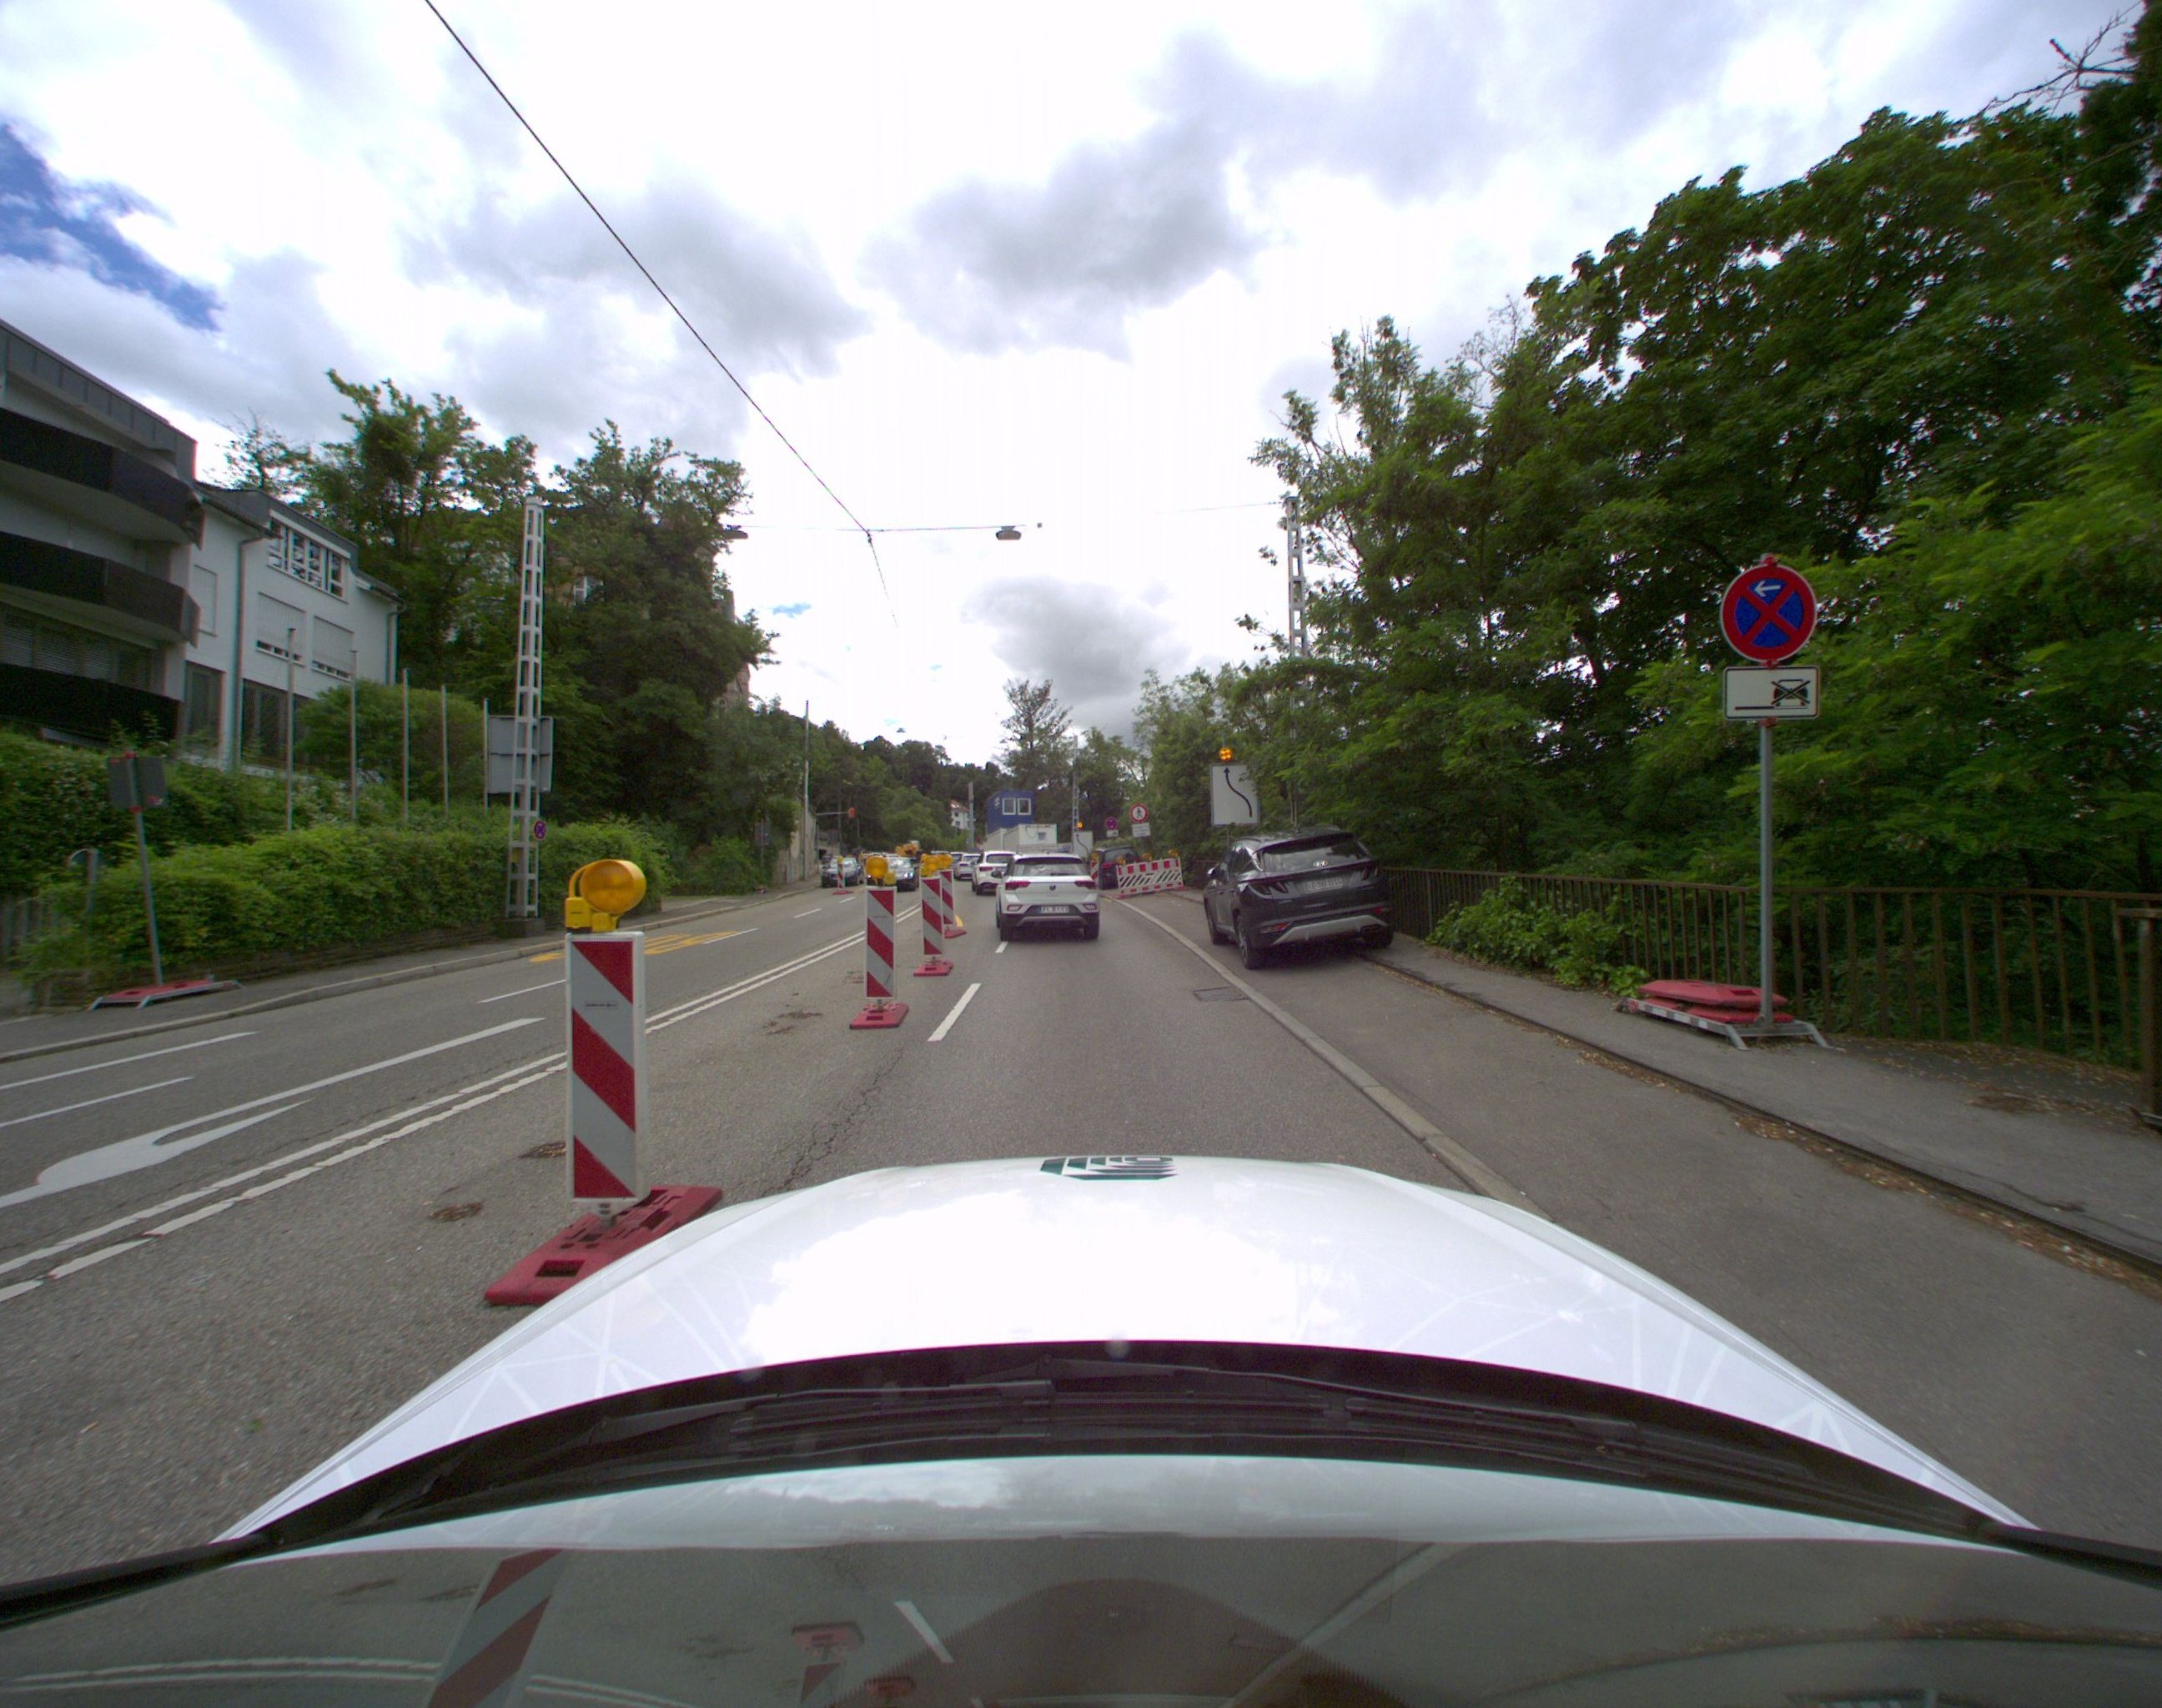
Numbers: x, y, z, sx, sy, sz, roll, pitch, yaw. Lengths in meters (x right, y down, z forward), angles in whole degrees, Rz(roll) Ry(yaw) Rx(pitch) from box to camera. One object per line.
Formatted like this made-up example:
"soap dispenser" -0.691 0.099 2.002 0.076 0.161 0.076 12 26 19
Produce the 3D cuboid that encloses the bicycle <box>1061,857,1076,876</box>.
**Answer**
"bicycle" -0.748 0.766 49.405 0.499 1.107 1.792 -3 1 -13

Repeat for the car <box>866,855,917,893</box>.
"car" -7.971 0.799 34.552 1.822 1.391 4.421 -3 0 -11

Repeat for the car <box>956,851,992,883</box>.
"car" -5.945 0.689 44.987 1.810 1.663 3.986 -1 0 -10

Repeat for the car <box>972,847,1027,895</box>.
"car" -3.177 0.610 31.159 1.810 1.663 3.986 -1 0 -10

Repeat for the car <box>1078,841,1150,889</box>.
"car" 1.272 0.429 33.970 1.863 1.674 4.628 -6 1 -11

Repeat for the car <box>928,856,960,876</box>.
"car" -10.964 0.936 64.909 1.801 1.510 3.972 -1 0 -21

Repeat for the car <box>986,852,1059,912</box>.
"car" -1.772 0.733 23.480 1.809 1.531 3.988 -1 0 -9

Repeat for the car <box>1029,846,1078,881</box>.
"car" -1.565 0.495 44.467 1.840 1.642 4.485 -5 1 -11

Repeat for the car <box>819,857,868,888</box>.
"car" -12.069 0.902 41.613 1.799 1.373 4.373 -3 1 -10

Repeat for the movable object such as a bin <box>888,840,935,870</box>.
"movable object such as a bin" -18.623 0.114 88.953 2.828 3.071 7.750 1 -1 -29

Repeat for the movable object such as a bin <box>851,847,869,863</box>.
"movable object such as a bin" -37.409 0.159 137.756 2.210 2.663 4.931 1 0 -8

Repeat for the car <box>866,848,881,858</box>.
"car" -31.228 -0.136 122.447 1.801 1.510 3.971 0 -1 -21

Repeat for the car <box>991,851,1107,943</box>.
"car" -0.746 0.723 15.788 1.809 1.531 3.988 -1 0 -9

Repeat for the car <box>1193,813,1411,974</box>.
"car" 2.866 0.451 11.614 1.847 1.673 4.280 -6 0 1

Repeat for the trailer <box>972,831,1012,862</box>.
"trailer" -7.844 -0.642 71.326 2.115 2.549 5.082 -2 0 -21

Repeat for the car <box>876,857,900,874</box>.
"car" -18.479 1.096 77.865 1.801 1.510 3.972 -1 0 -21

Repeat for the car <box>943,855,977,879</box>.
"car" -8.247 0.838 55.270 1.798 1.510 3.977 -1 0 -17

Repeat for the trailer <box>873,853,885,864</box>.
"trailer" -28.482 0.678 114.658 1.292 1.475 3.611 1 0 -18
